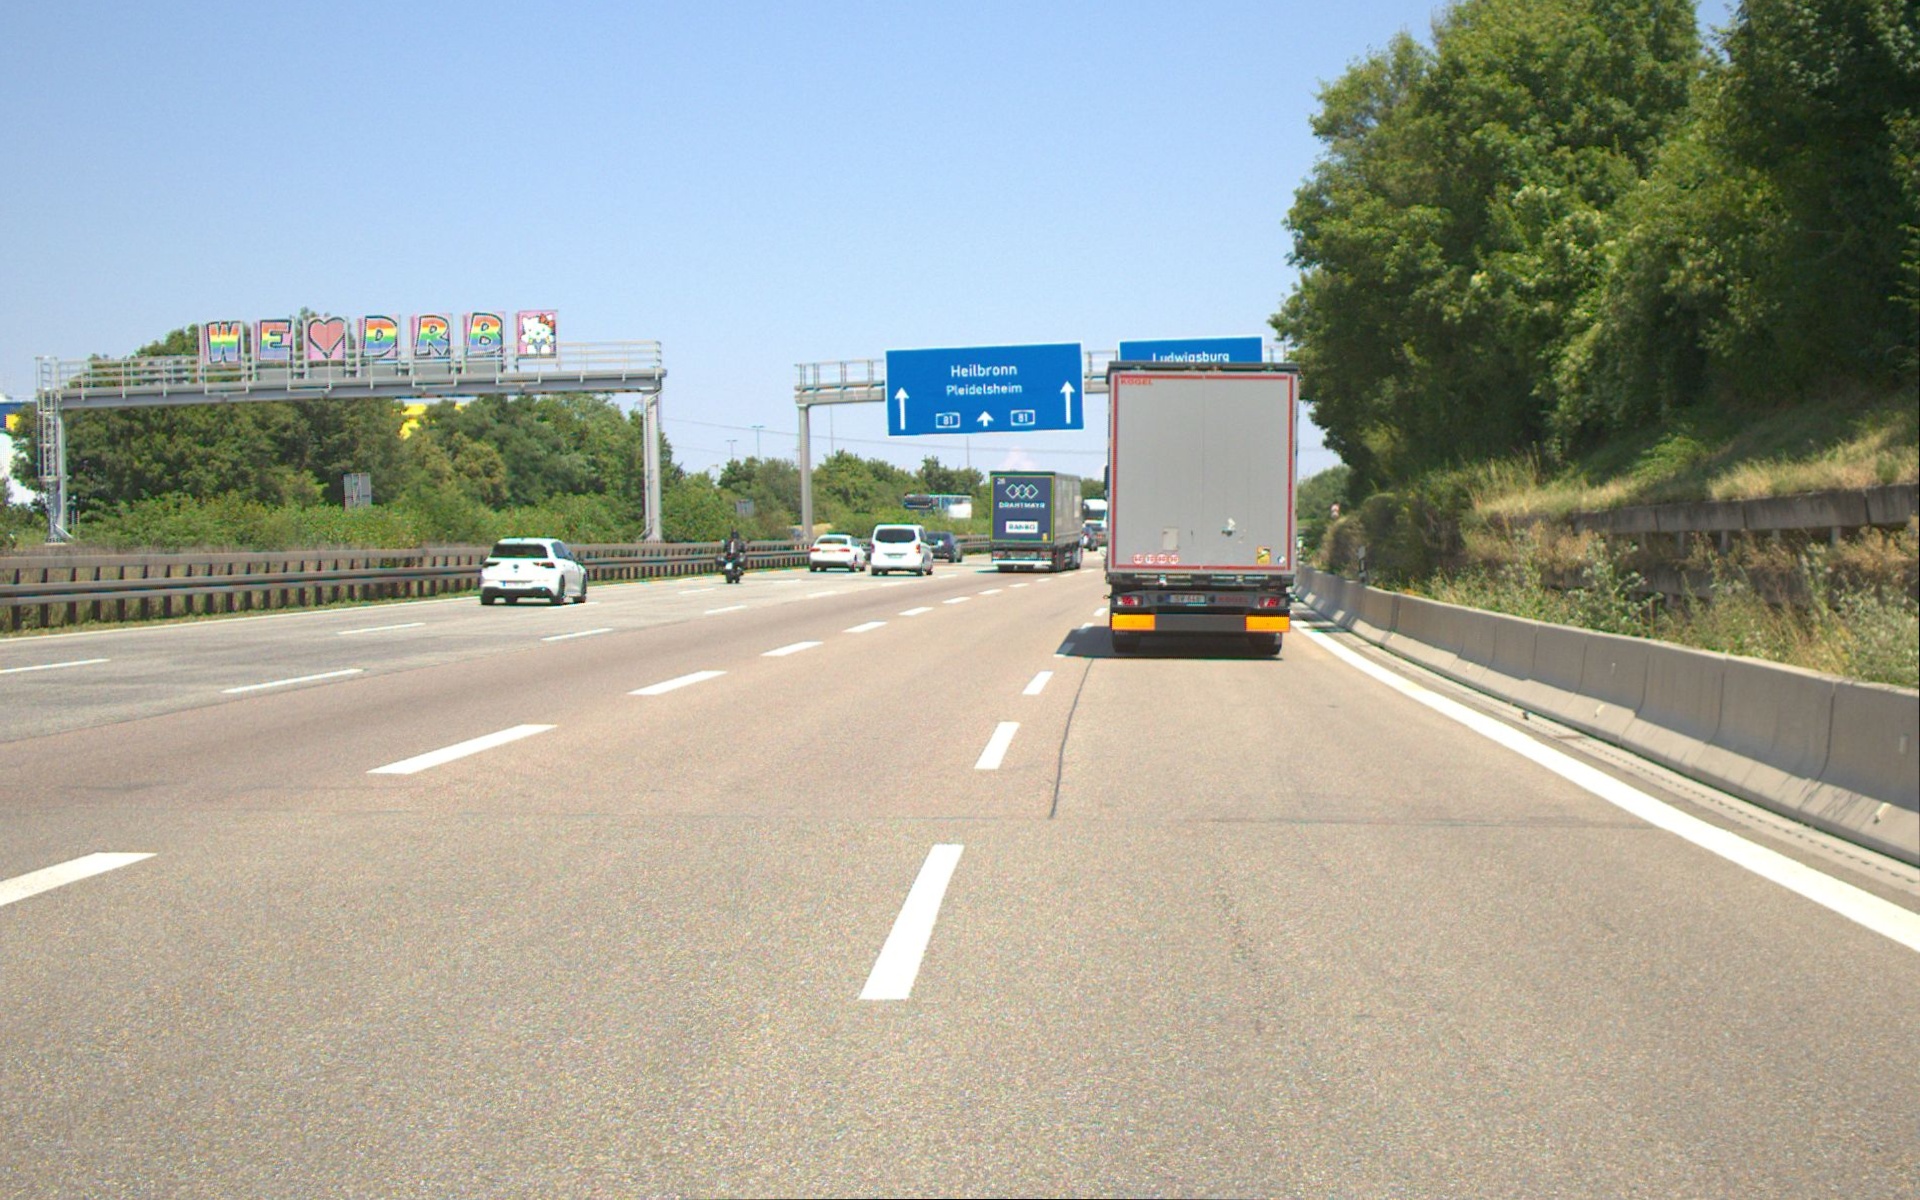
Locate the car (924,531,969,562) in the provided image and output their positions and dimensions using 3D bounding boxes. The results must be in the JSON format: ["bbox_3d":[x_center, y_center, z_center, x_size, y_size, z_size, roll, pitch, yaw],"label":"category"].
[{"bbox_3d":[-0.638,-2.603,168.332,1.757,1.404,5.039,0,0,4],"label":"car"}]

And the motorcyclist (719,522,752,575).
[{"bbox_3d":[-6.832,-1.565,104.712,0.893,1.591,1.299,0,0,0],"label":"motorcyclist"}]

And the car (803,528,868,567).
[{"bbox_3d":[-4.836,-2.052,134.491,1.877,1.435,5.125,0,0,5],"label":"car"}]

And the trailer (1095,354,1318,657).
[{"bbox_3d":[3.626,-1.451,51.714,2.928,4.001,12.038,0,2,3],"label":"trailer"}]

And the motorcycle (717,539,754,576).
[{"bbox_3d":[-6.834,-1.290,104.752,0.913,1.085,2.850,0,0,0],"label":"motorcycle"}]

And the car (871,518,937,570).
[{"bbox_3d":[-2.023,-2.045,126.251,1.931,1.845,4.691,0,0,5],"label":"car"}]

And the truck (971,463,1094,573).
[{"bbox_3d":[3.134,-3.426,142.301,3.748,4.255,14.493,1,2,6],"label":"truck"}]

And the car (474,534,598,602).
[{"bbox_3d":[-9.224,-0.713,75.114,1.782,1.435,4.668,0,1,5],"label":"car"}]
